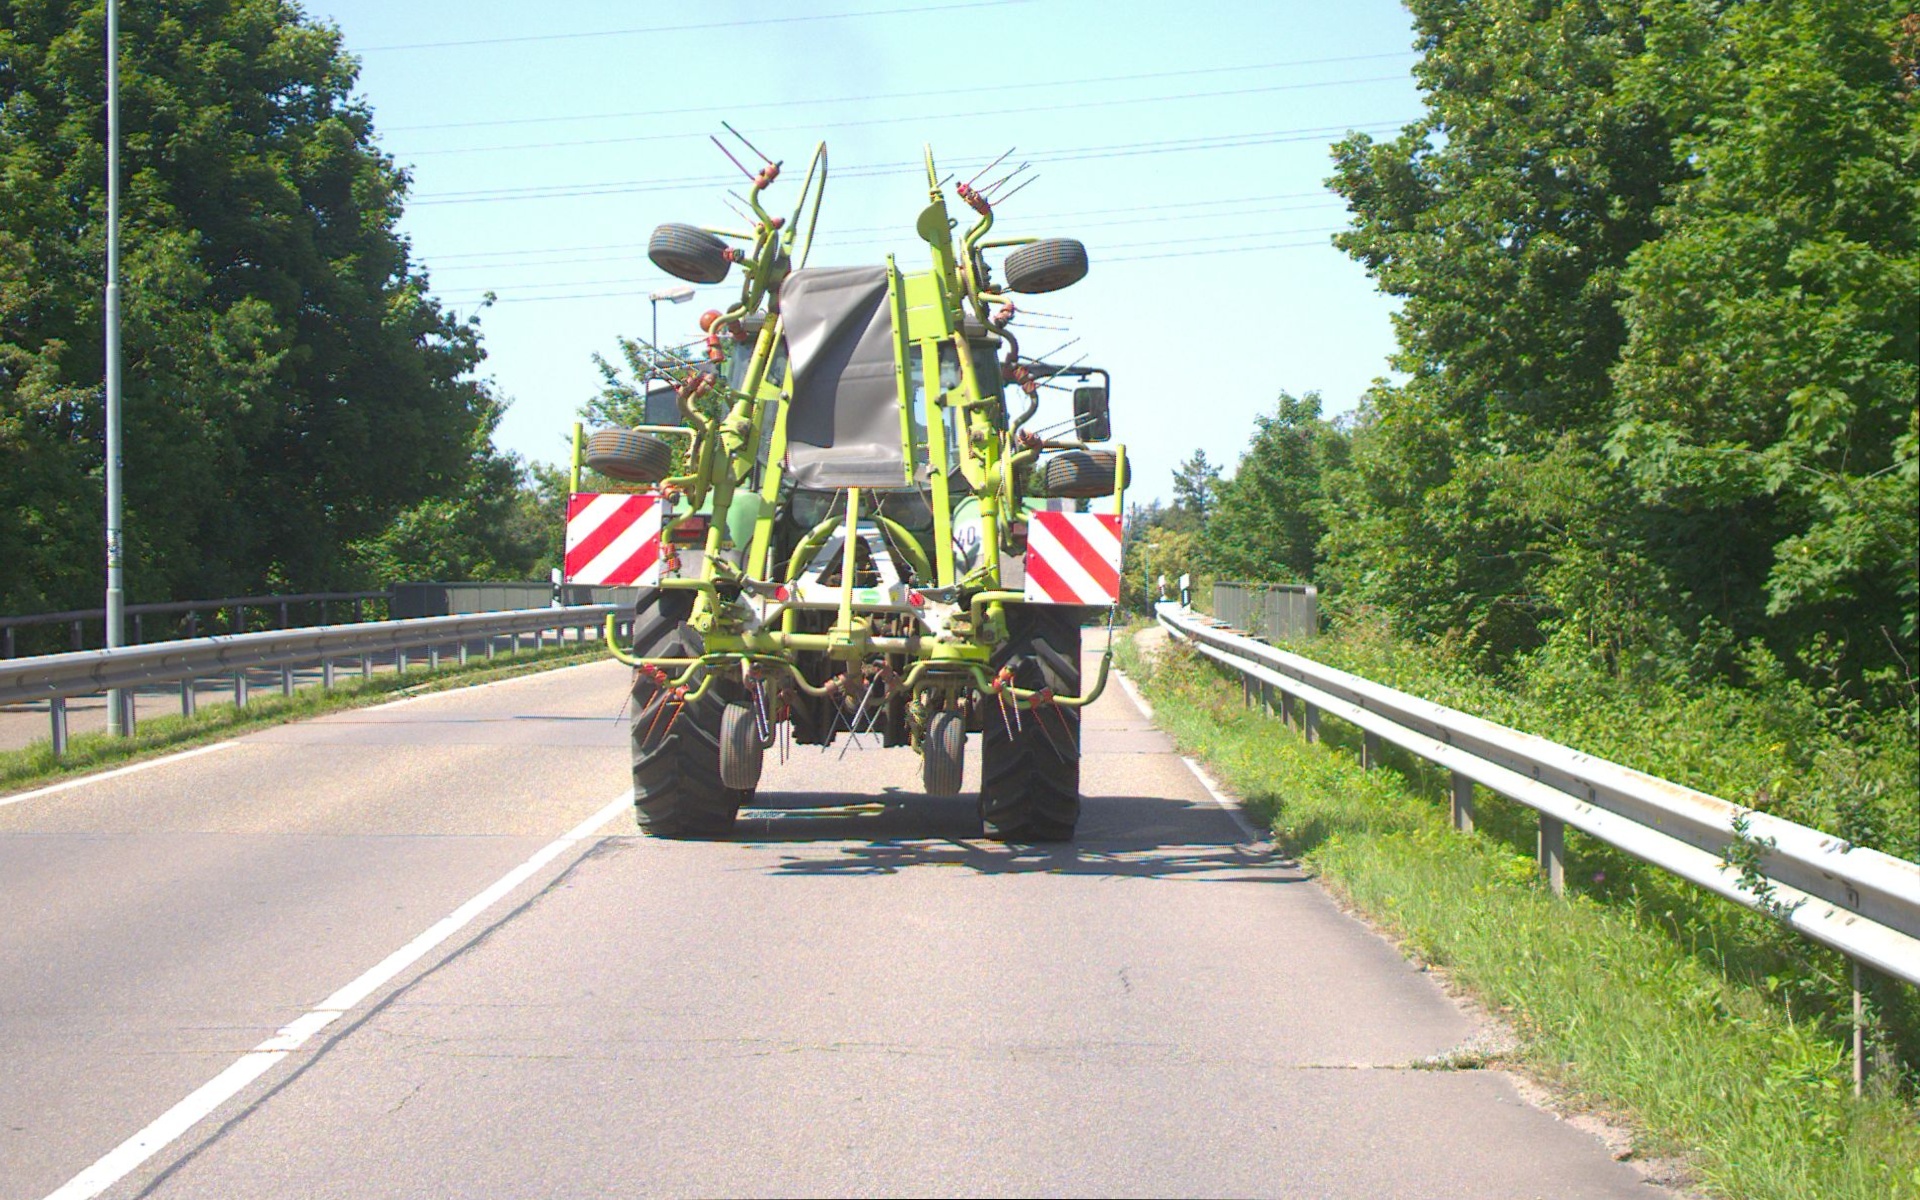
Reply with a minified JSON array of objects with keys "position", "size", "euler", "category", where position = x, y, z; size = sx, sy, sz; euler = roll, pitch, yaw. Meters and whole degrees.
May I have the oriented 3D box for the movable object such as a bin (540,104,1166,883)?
[{"position":[-0.498,-0.516,18.019],"size":[2.755,3.432,5.670],"euler":[0,1,0],"category":"movable object such as a bin"}]
